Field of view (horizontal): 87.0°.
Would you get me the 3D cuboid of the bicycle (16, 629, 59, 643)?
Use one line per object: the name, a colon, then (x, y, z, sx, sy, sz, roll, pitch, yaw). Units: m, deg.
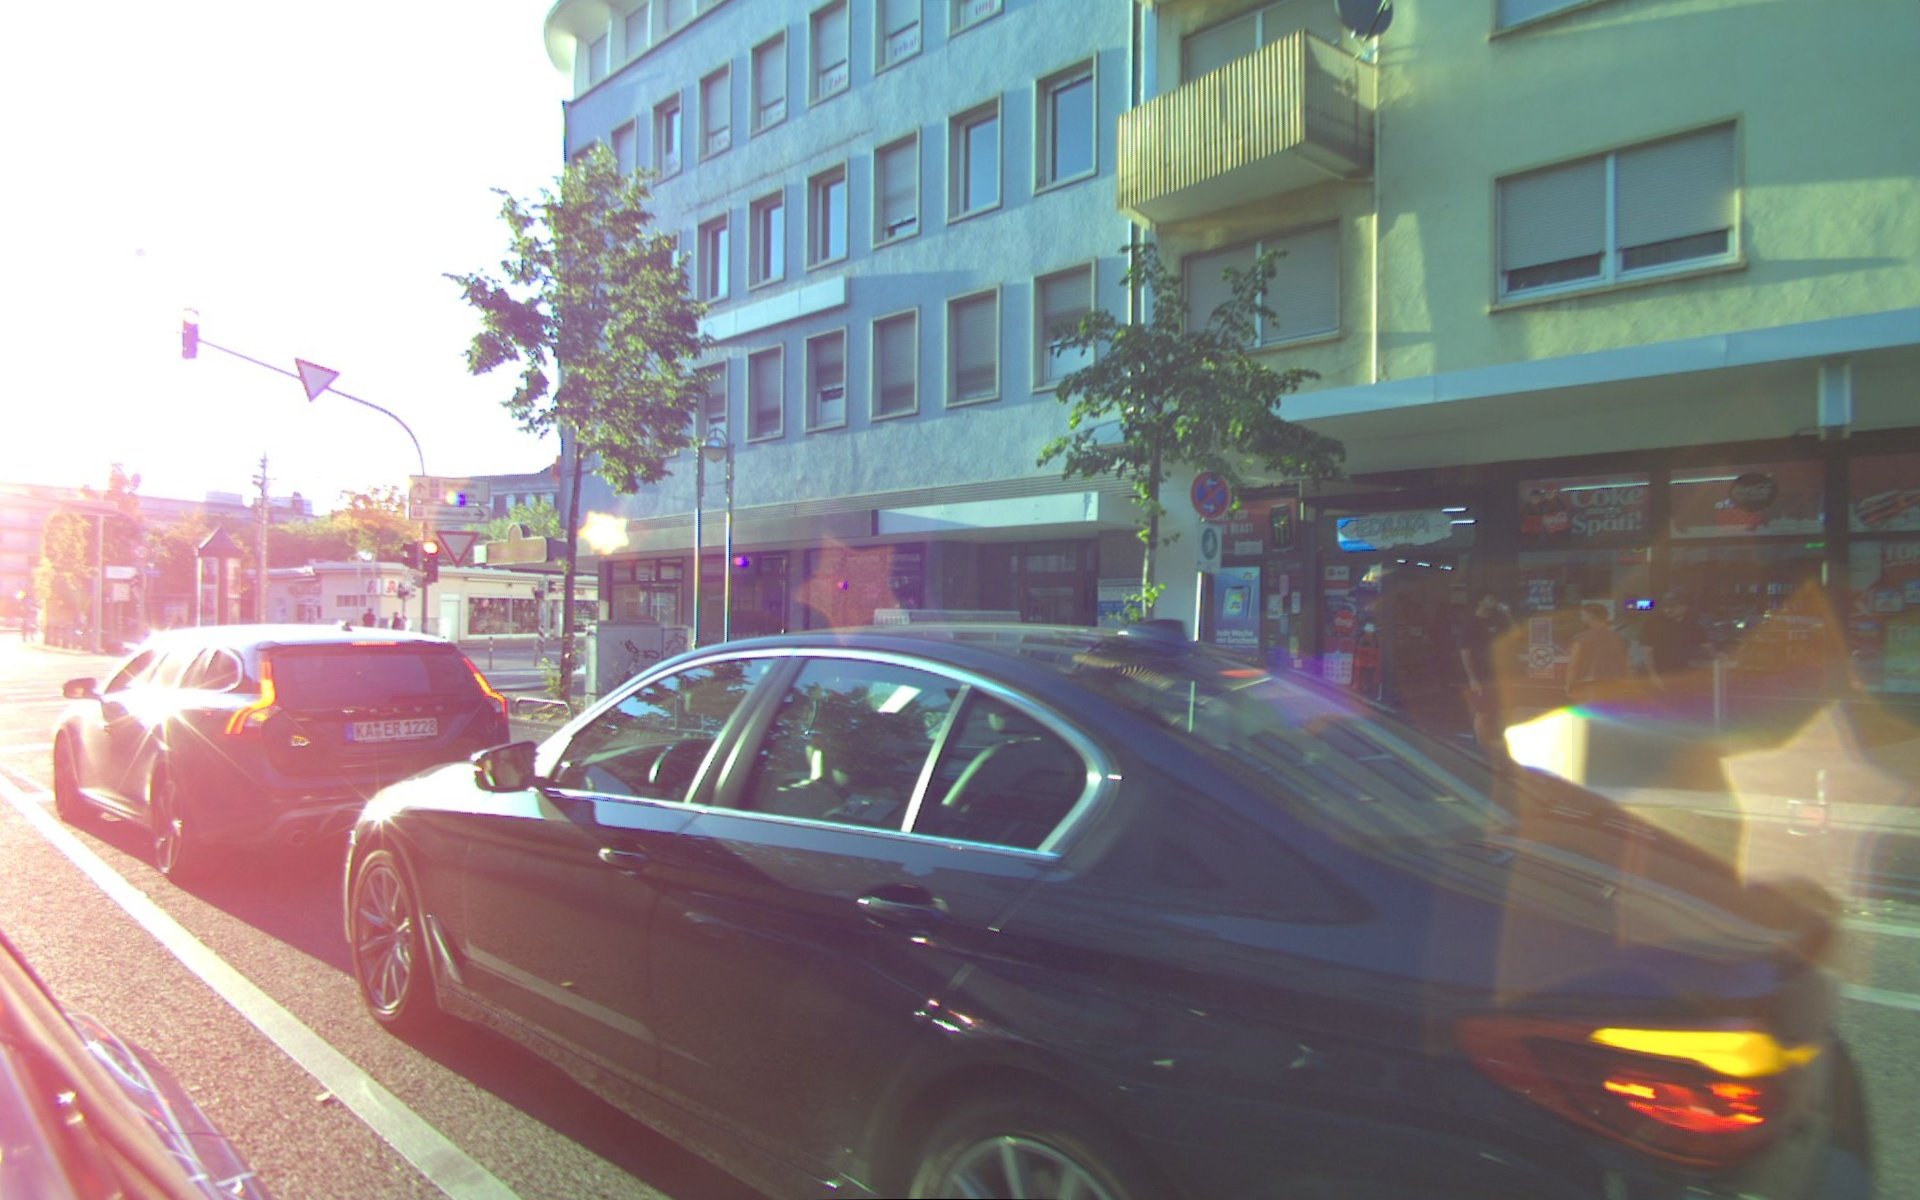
bicycle: (-68.382, 2.685, 75.052, 2.365, 0.966, 0.673, 0, 0, -42)

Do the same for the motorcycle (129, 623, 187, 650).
motorcycle: (-43.746, 1.974, 55.239, 2.416, 1.376, 0.780, 0, -1, -44)

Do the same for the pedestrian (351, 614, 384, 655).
pedestrian: (-26.556, 1.516, 45.364, 0.874, 1.798, 0.901, 0, 0, 18)

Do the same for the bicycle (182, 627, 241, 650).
bicycle: (-36.593, 1.870, 49.515, 0.777, 1.096, 2.171, 0, -1, 34)

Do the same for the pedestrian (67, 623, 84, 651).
pedestrian: (-54.728, 2.267, 62.626, 0.767, 1.689, 0.908, 0, 0, -41)

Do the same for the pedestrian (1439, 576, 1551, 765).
pedestrian: (5.563, 0.710, 10.531, 0.758, 1.862, 0.744, 1, -3, -39)

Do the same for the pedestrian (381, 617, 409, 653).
pedestrian: (-26.832, 1.655, 48.099, 0.896, 1.689, 0.778, 0, 0, 6)

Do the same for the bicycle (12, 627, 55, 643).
bicycle: (-69.651, 2.620, 76.116, 2.365, 1.079, 0.673, 0, 0, -42)

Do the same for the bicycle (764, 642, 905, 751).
bicycle: (-1.570, 1.190, 13.002, 0.491, 1.228, 1.988, 0, 0, 41)

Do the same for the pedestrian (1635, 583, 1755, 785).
pedestrian: (7.067, 0.780, 9.735, 0.813, 1.833, 0.732, -2, -3, 43)

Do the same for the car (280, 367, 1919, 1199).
car: (-0.147, 0.668, 2.955, 4.614, 1.657, 1.925, 0, -2, 42)

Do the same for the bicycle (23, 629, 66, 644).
bicycle: (-67.413, 2.676, 74.551, 2.365, 0.966, 0.673, 0, 0, -42)

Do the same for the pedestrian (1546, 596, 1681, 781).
pedestrian: (6.239, 0.817, 9.699, 0.758, 1.689, 0.744, 0, -1, -7)

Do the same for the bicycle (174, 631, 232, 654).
bicycle: (-37.510, 2.099, 50.164, 0.777, 1.096, 2.196, 0, -1, 34)

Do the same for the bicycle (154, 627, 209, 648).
bicycle: (-41.051, 1.992, 53.400, 0.779, 1.096, 2.152, 0, -2, 41)

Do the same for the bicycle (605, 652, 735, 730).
bicycle: (-4.314, 1.325, 15.197, 0.490, 0.999, 1.991, 0, 0, 37)

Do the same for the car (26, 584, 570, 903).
car: (-4.852, 0.782, 7.158, 4.504, 1.559, 1.939, -2, -3, 39)

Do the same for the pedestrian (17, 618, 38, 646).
pedestrian: (-57.873, 1.955, 62.794, 0.892, 1.689, 0.781, 0, 0, -37)
